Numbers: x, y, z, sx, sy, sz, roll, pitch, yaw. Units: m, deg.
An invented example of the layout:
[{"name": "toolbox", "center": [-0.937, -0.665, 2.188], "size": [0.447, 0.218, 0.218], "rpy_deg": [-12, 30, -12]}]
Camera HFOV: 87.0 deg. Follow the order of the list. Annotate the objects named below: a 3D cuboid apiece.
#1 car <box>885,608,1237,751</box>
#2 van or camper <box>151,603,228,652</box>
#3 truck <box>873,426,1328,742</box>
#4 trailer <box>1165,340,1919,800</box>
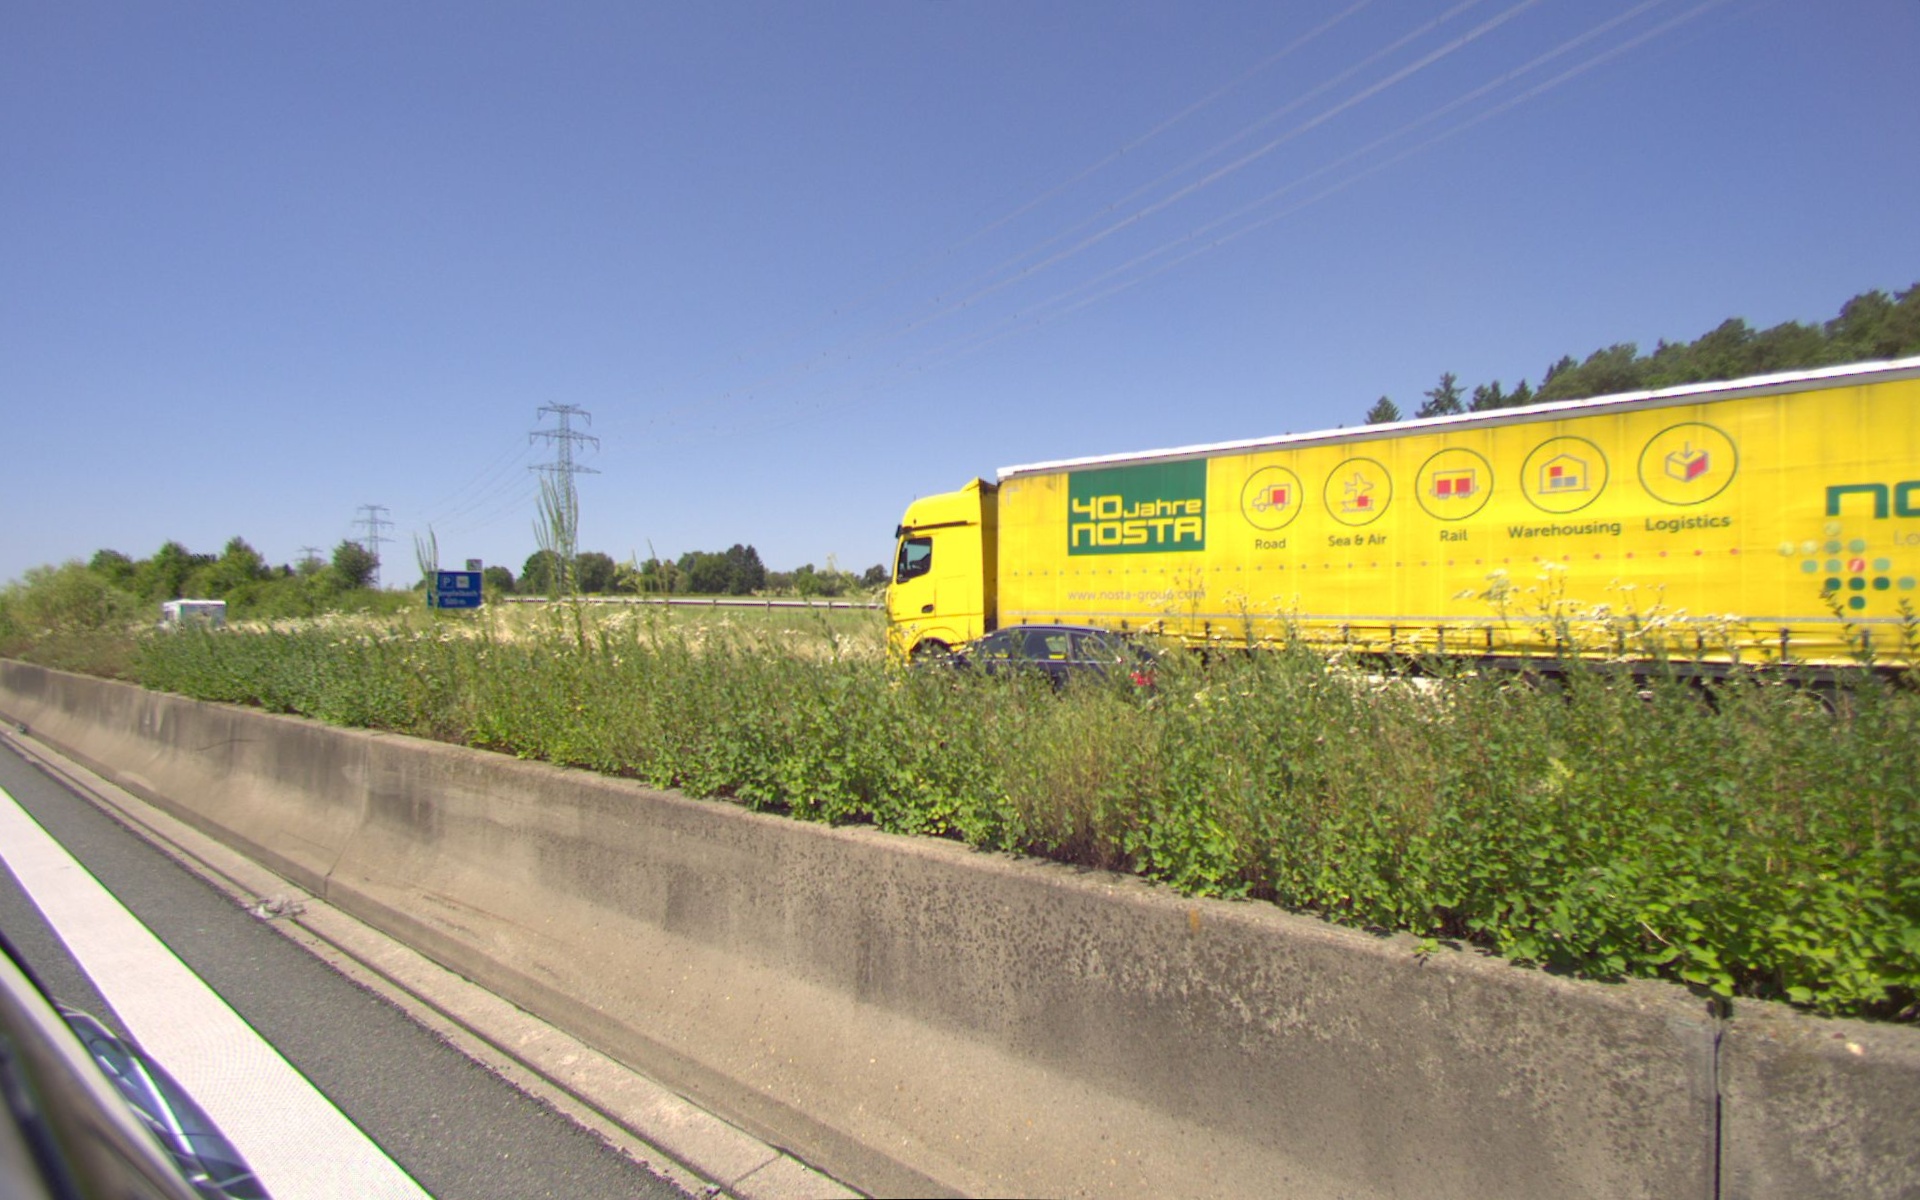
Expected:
[{"name": "car", "center": [1.161, 0.896, 12.757], "size": [4.097, 1.476, 1.850], "rpy_deg": [-2, 0, 41]}, {"name": "van or camper", "center": [-47.754, 1.630, 62.656], "size": [7.066, 2.859, 2.525], "rpy_deg": [0, 1, 42]}, {"name": "truck", "center": [2.075, -0.235, 17.161], "size": [7.322, 4.268, 2.749], "rpy_deg": [0, 1, 42]}, {"name": "trailer", "center": [7.880, -0.295, 12.020], "size": [10.681, 4.238, 2.792], "rpy_deg": [0, 1, 41]}]
